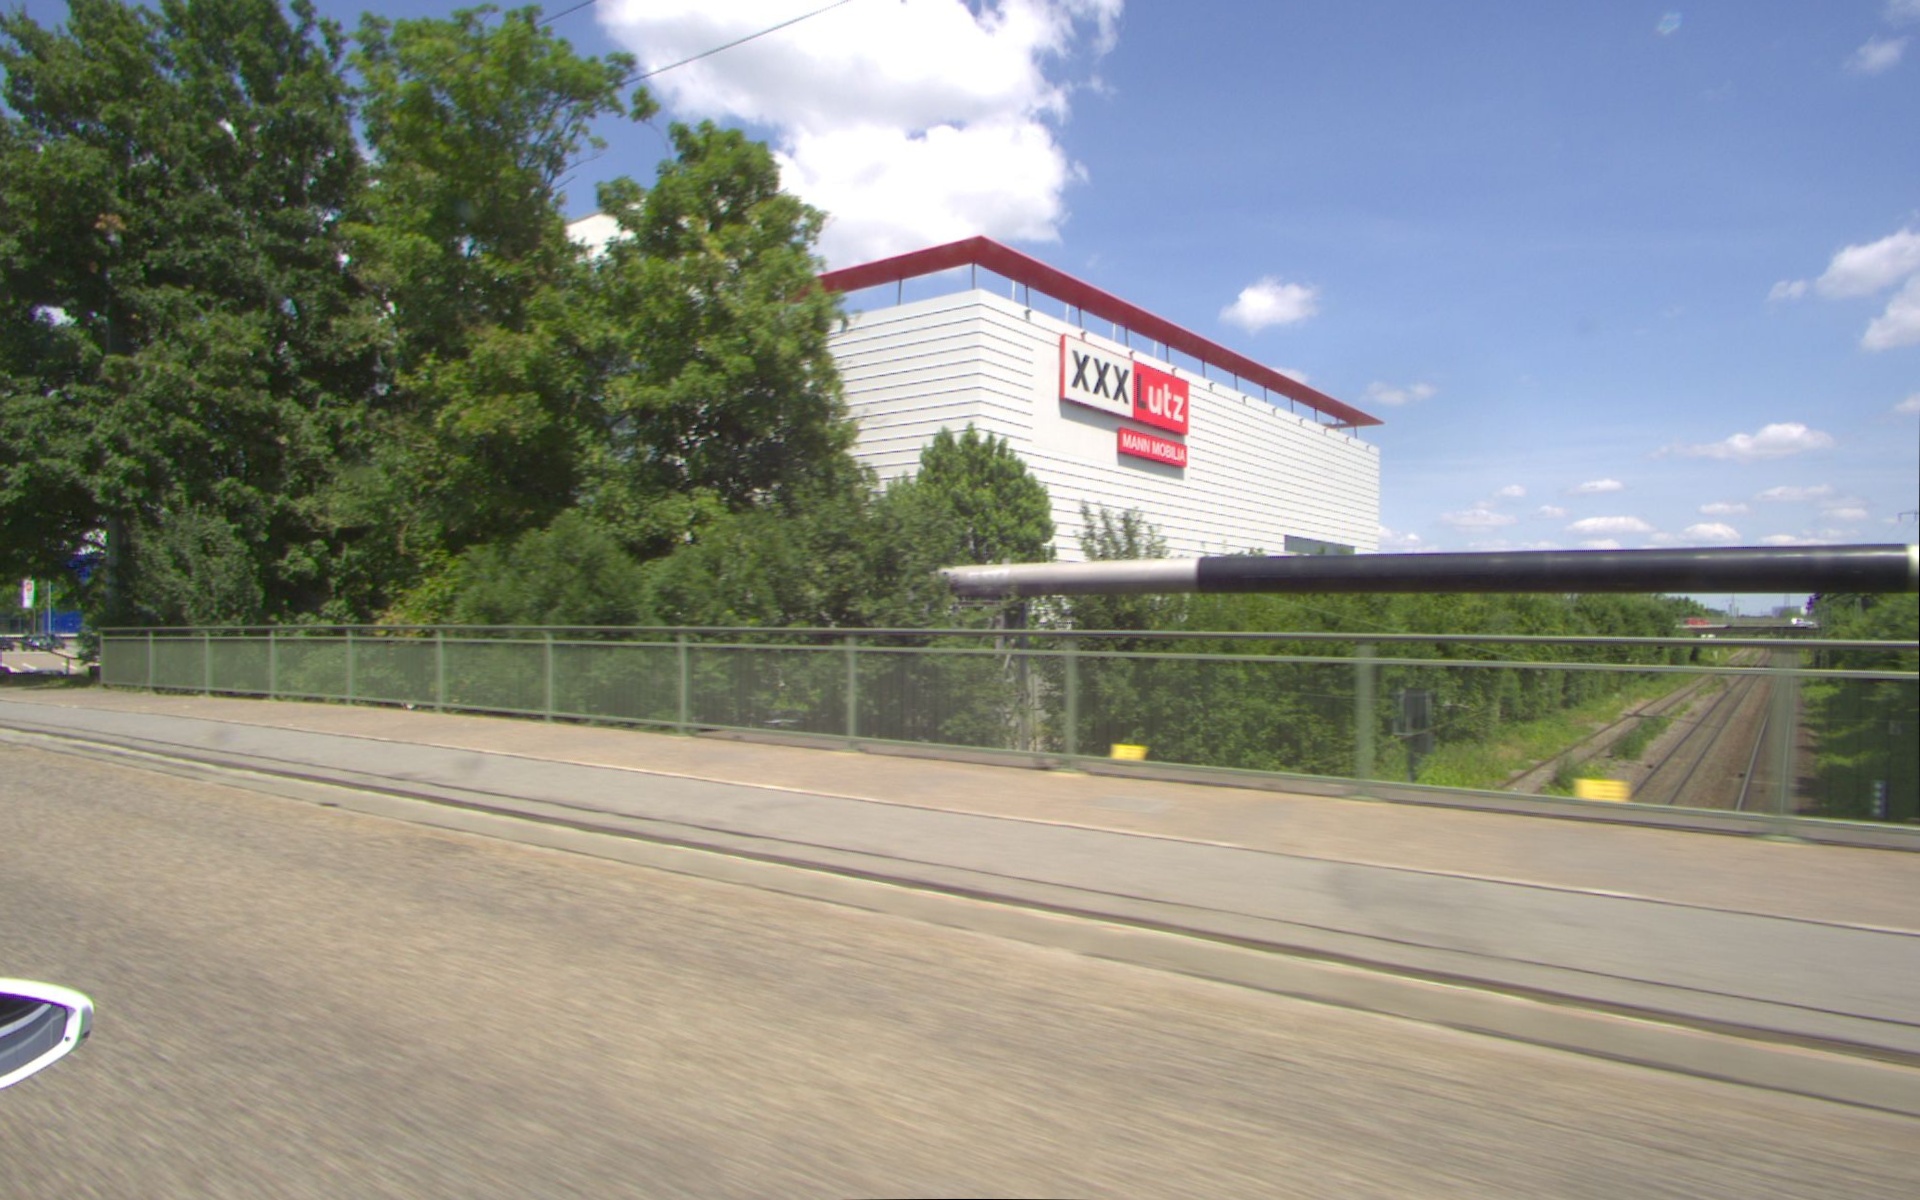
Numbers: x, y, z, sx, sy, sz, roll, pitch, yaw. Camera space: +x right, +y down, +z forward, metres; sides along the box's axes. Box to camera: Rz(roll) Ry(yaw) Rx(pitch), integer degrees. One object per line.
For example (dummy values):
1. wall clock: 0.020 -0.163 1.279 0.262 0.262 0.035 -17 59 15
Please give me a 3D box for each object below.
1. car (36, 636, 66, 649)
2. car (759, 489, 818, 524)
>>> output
1. car: -108.576 5.121 119.584 3.832 1.501 1.569 -1 -3 31
2. car: -10.056 -5.488 58.955 1.524 1.536 3.358 -1 -3 34
